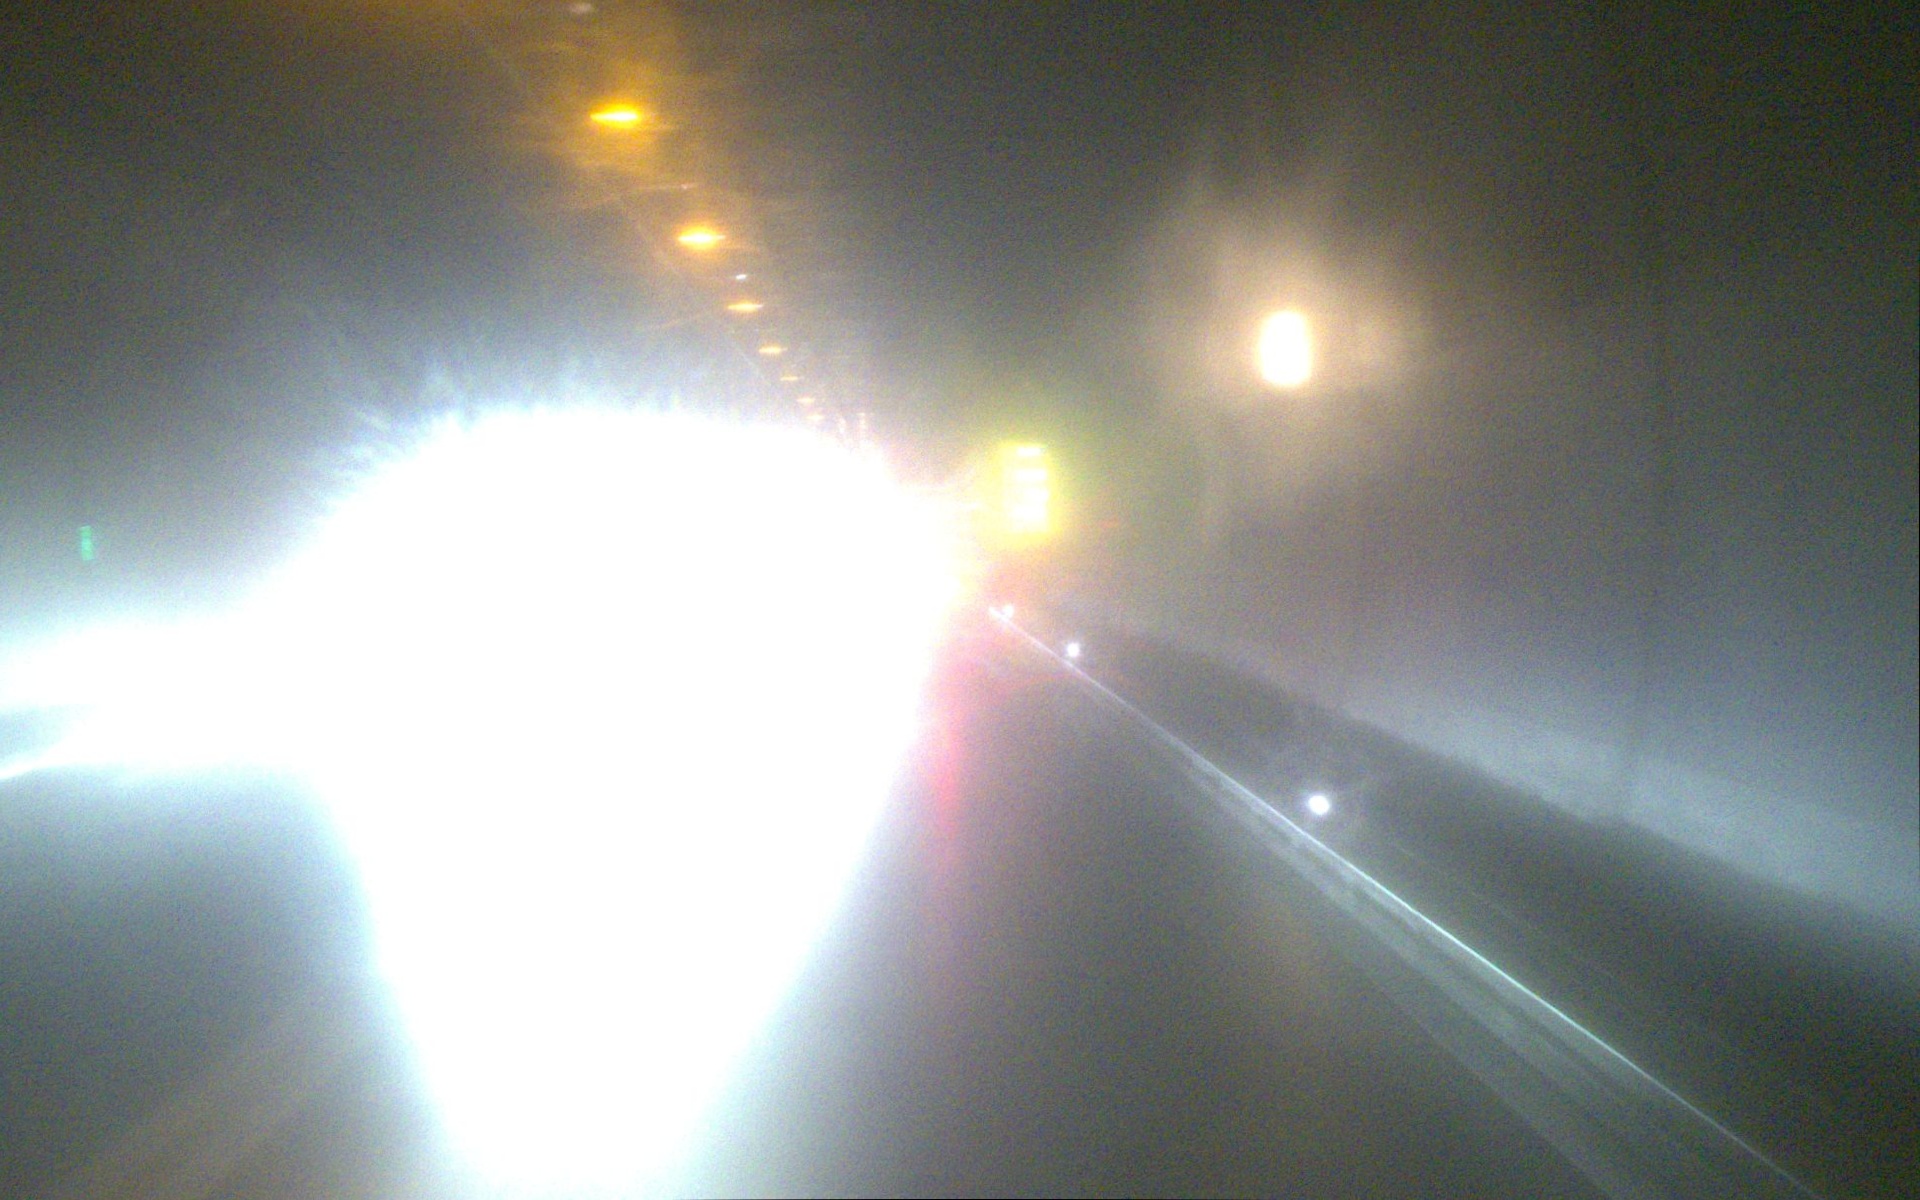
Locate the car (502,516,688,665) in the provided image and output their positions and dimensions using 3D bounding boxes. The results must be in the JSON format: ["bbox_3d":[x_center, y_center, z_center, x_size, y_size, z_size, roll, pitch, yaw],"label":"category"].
[{"bbox_3d":[-4.284,-0.141,40.950,1.781,1.670,4.561,0,1,-1],"label":"car"}]

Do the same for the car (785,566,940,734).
[{"bbox_3d":[-1.062,0.509,38.409,1.635,1.752,4.146,0,1,-1],"label":"car"}]

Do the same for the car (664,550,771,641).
[{"bbox_3d":[-4.741,-0.111,66.812,1.914,1.722,4.001,0,1,-6],"label":"car"}]
